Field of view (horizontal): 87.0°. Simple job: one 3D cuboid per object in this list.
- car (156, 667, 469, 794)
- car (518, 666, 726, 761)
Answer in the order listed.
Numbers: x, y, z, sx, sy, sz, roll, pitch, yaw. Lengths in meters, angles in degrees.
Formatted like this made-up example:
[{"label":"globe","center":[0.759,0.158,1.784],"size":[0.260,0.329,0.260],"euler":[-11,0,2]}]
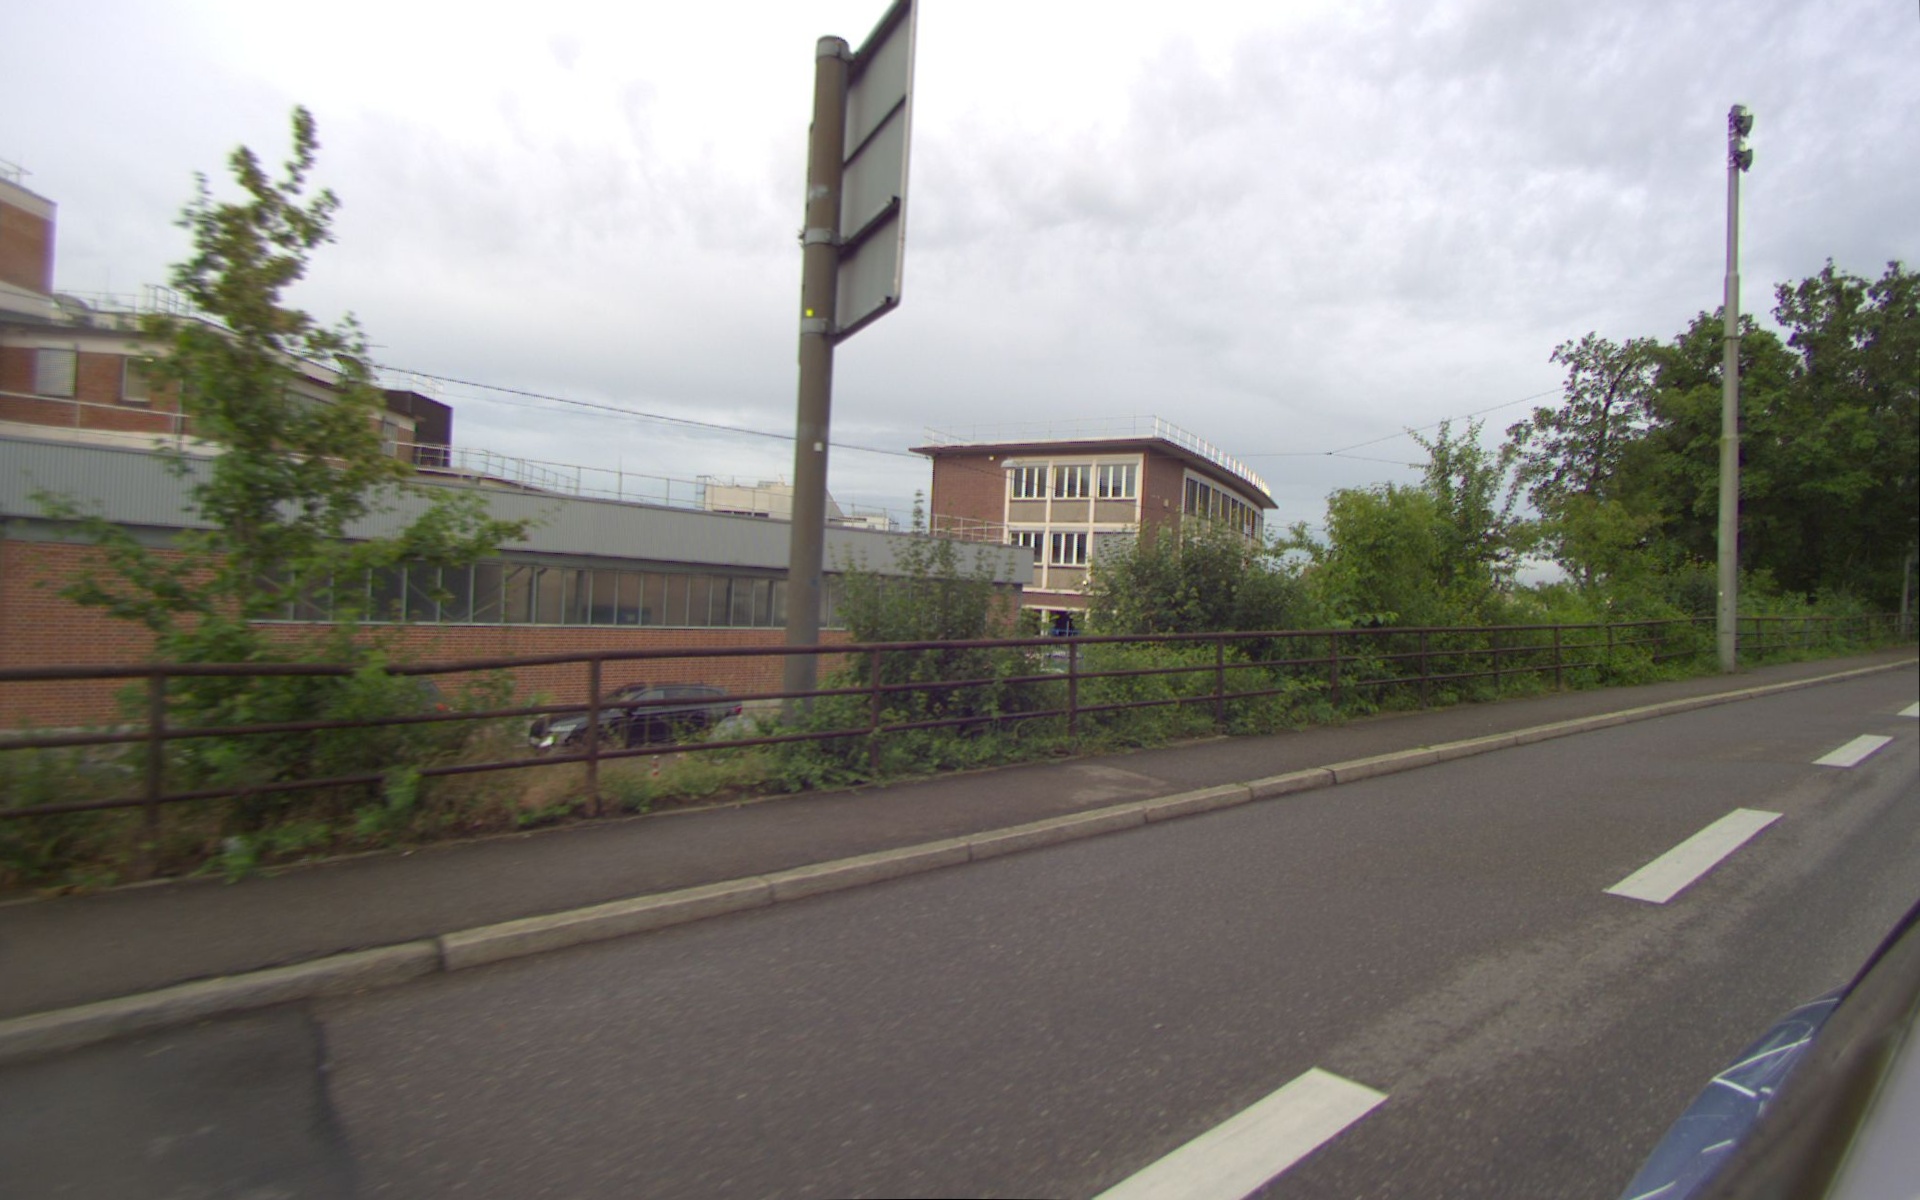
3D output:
[{"label":"car","center":[-11.058,2.129,17.482],"size":[4.353,1.652,1.635],"euler":[1,1,-42]},{"label":"car","center":[-7.040,2.301,21.281],"size":[3.790,1.574,1.701],"euler":[1,1,-42]}]
